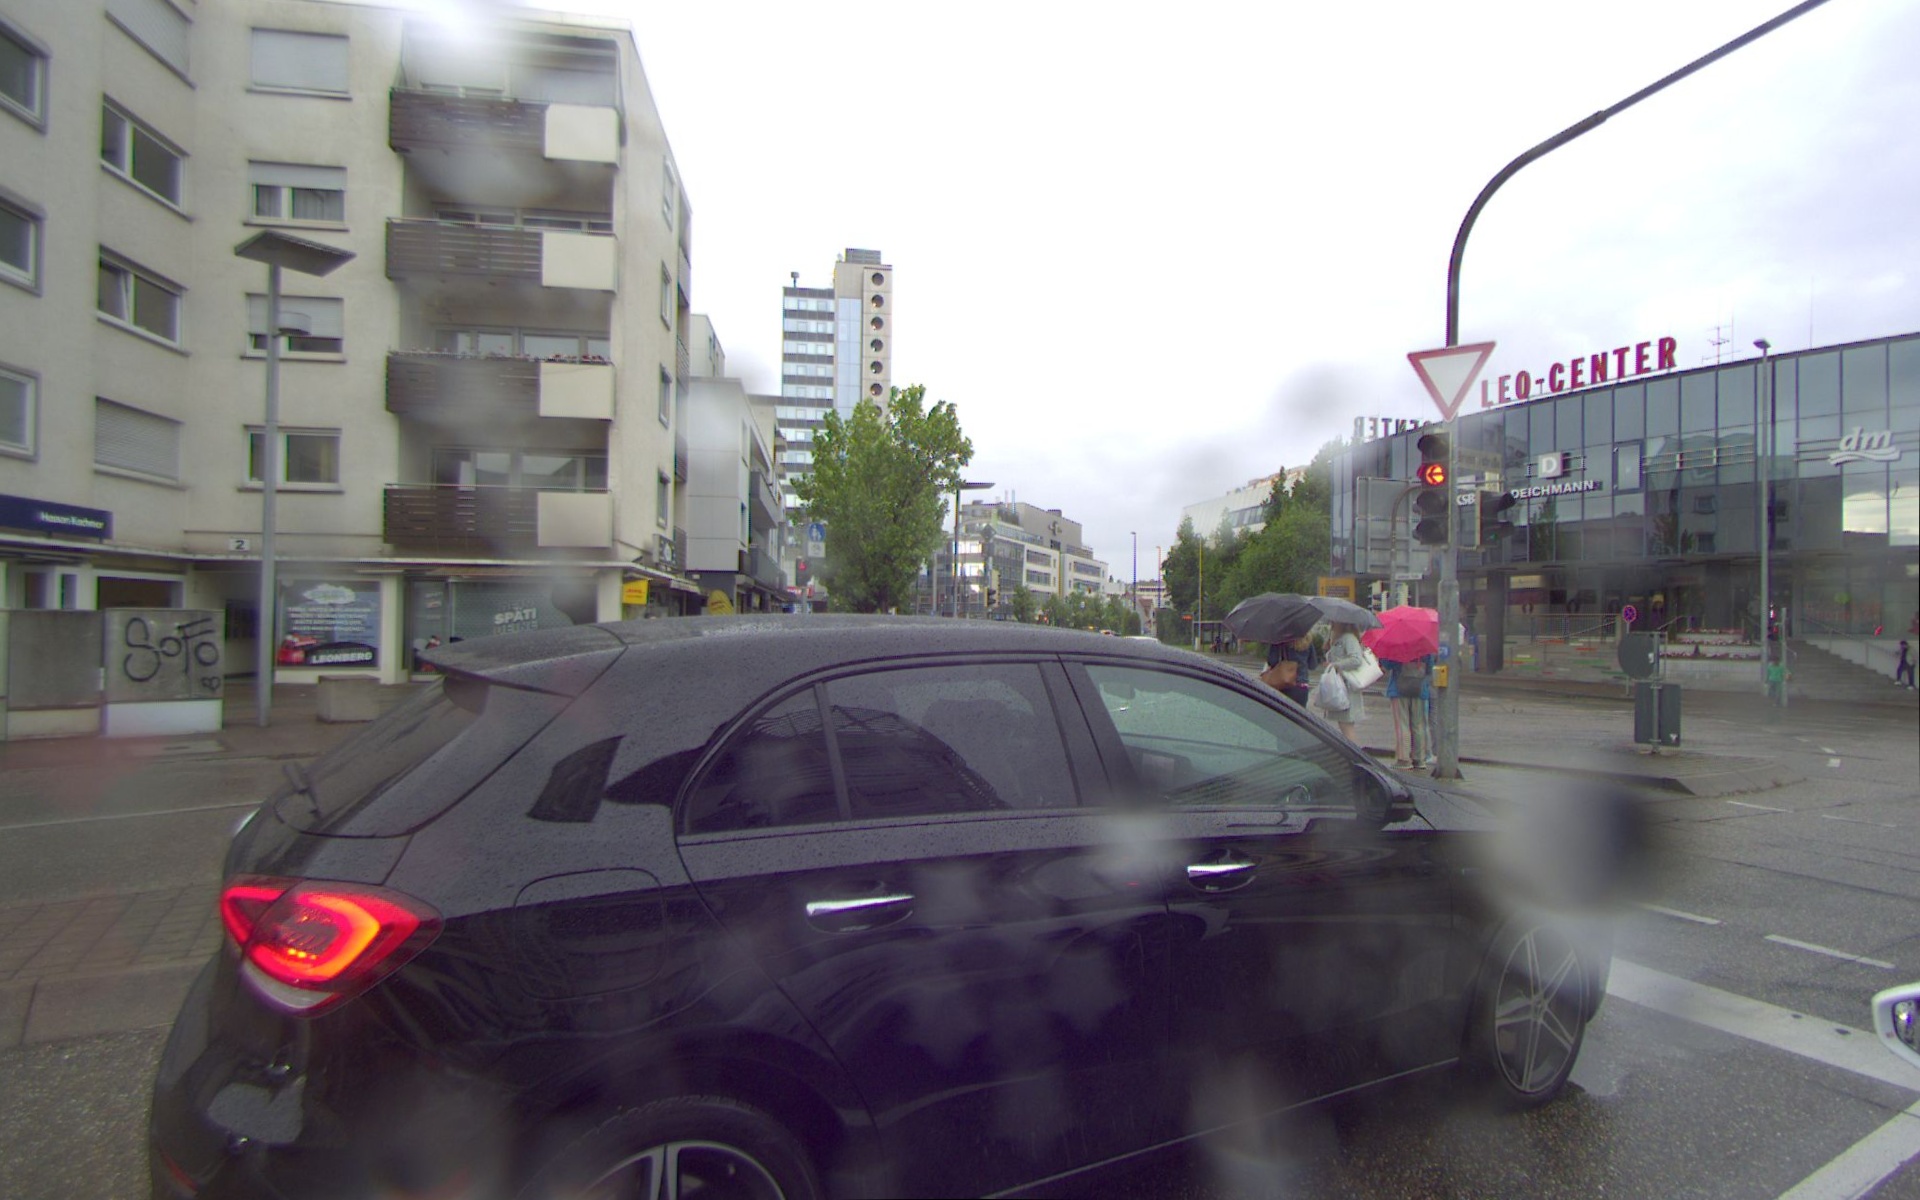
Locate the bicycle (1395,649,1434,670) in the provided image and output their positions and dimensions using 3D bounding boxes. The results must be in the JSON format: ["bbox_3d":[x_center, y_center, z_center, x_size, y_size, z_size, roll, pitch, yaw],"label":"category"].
[{"bbox_3d":[23.913,3.143,52.884,1.822,1.047,0.628,-1,-1,-12],"label":"bicycle"}]

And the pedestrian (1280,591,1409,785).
[{"bbox_3d":[3.725,0.828,9.824,0.843,1.767,1.139,1,-2,3],"label":"pedestrian"}]

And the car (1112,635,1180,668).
[{"bbox_3d":[9.070,2.508,49.244,1.717,1.460,3.980,1,-1,-15],"label":"car"}]

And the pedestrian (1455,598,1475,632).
[{"bbox_3d":[26.019,0.782,51.800,0.642,1.736,0.599,2,0,-6],"label":"pedestrian"}]

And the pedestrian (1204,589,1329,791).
[{"bbox_3d":[2.861,0.799,9.350,0.937,1.759,0.835,0,-2,30],"label":"pedestrian"}]

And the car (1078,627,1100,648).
[{"bbox_3d":[12.312,3.581,96.184,2.008,1.921,4.141,1,-1,6],"label":"car"}]

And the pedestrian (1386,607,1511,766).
[{"bbox_3d":[5.519,0.948,11.371,0.906,1.699,0.931,2,-2,-30],"label":"pedestrian"}]

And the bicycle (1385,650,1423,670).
[{"bbox_3d":[23.684,3.203,53.549,1.821,0.964,0.535,-1,0,-8],"label":"bicycle"}]

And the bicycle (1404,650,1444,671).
[{"bbox_3d":[24.066,3.139,52.141,1.822,1.056,0.646,-1,-1,-12],"label":"bicycle"}]

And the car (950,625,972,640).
[{"bbox_3d":[0.054,3.188,98.436,1.414,1.314,3.770,2,-1,-11],"label":"car"}]

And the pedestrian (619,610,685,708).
[{"bbox_3d":[-5.204,0.983,16.984,0.904,1.606,0.651,2,-2,-33],"label":"pedestrian"}]

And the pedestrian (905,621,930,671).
[{"bbox_3d":[-1.457,1.571,34.221,0.799,1.677,0.714,1,-2,-3],"label":"pedestrian"}]

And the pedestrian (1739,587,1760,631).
[{"bbox_3d":[33.115,0.381,42.126,0.625,1.831,0.501,2,0,43],"label":"pedestrian"}]

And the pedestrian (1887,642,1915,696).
[{"bbox_3d":[34.374,2.506,36.688,0.589,1.933,0.651,2,-1,-38],"label":"pedestrian"}]

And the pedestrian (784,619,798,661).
[{"bbox_3d":[-7.229,1.712,43.000,0.557,1.817,0.491,1,-2,-6],"label":"pedestrian"}]

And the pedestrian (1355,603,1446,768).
[{"bbox_3d":[4.752,0.903,10.877,0.790,1.707,0.674,1,-2,14],"label":"pedestrian"}]

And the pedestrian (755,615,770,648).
[{"bbox_3d":[-12.446,1.971,63.312,0.859,2.040,0.923,1,-1,-10],"label":"pedestrian"}]

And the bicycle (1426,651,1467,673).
[{"bbox_3d":[24.466,3.104,50.517,1.822,1.036,0.631,-1,-2,-12],"label":"bicycle"}]

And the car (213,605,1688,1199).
[{"bbox_3d":[0.333,0.802,3.073,4.048,1.501,1.654,1,1,-32],"label":"car"}]

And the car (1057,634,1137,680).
[{"bbox_3d":[4.766,1.985,35.720,2.082,1.432,5.147,2,-2,0],"label":"car"}]

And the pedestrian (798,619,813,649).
[{"bbox_3d":[-9.808,2.158,63.747,0.859,1.835,0.923,1,-1,-10],"label":"pedestrian"}]

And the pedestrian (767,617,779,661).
[{"bbox_3d":[-7.596,1.582,40.846,0.441,1.746,0.499,1,-2,-12],"label":"pedestrian"}]

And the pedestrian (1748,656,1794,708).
[{"bbox_3d":[26.834,2.706,33.241,0.799,1.644,0.945,2,-2,-29],"label":"pedestrian"}]
